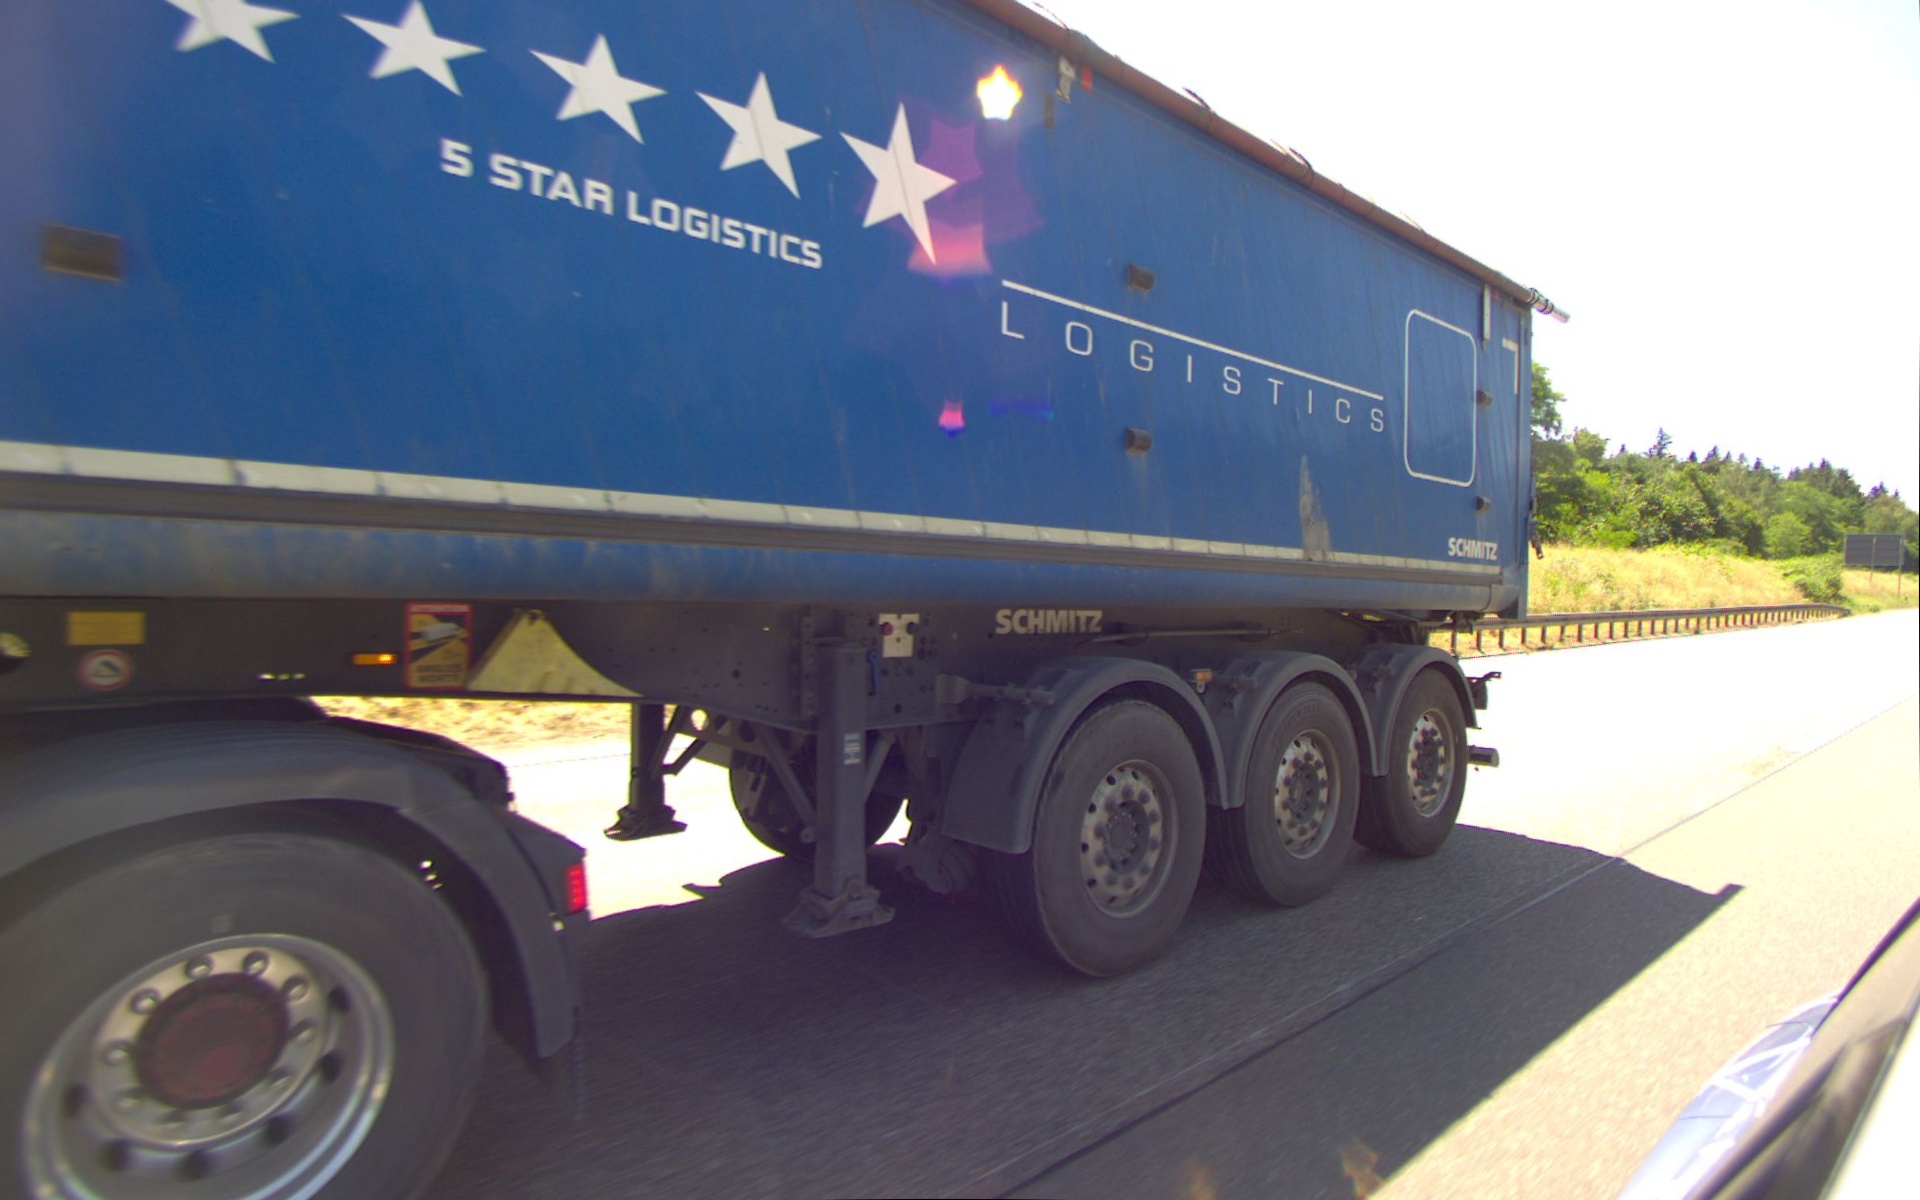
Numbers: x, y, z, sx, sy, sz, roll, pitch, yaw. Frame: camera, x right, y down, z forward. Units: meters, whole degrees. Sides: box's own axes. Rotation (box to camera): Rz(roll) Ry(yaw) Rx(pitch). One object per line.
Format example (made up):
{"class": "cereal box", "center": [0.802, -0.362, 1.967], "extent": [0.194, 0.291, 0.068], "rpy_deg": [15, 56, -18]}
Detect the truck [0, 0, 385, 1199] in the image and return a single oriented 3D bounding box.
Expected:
{"class": "truck", "center": [-4.231, -0.637, 1.143], "extent": [5.840, 3.806, 2.689], "rpy_deg": [0, 1, -41]}

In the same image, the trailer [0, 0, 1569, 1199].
{"class": "trailer", "center": [-0.605, -0.665, 4.286], "extent": [8.948, 3.806, 2.742], "rpy_deg": [0, 1, -41]}
